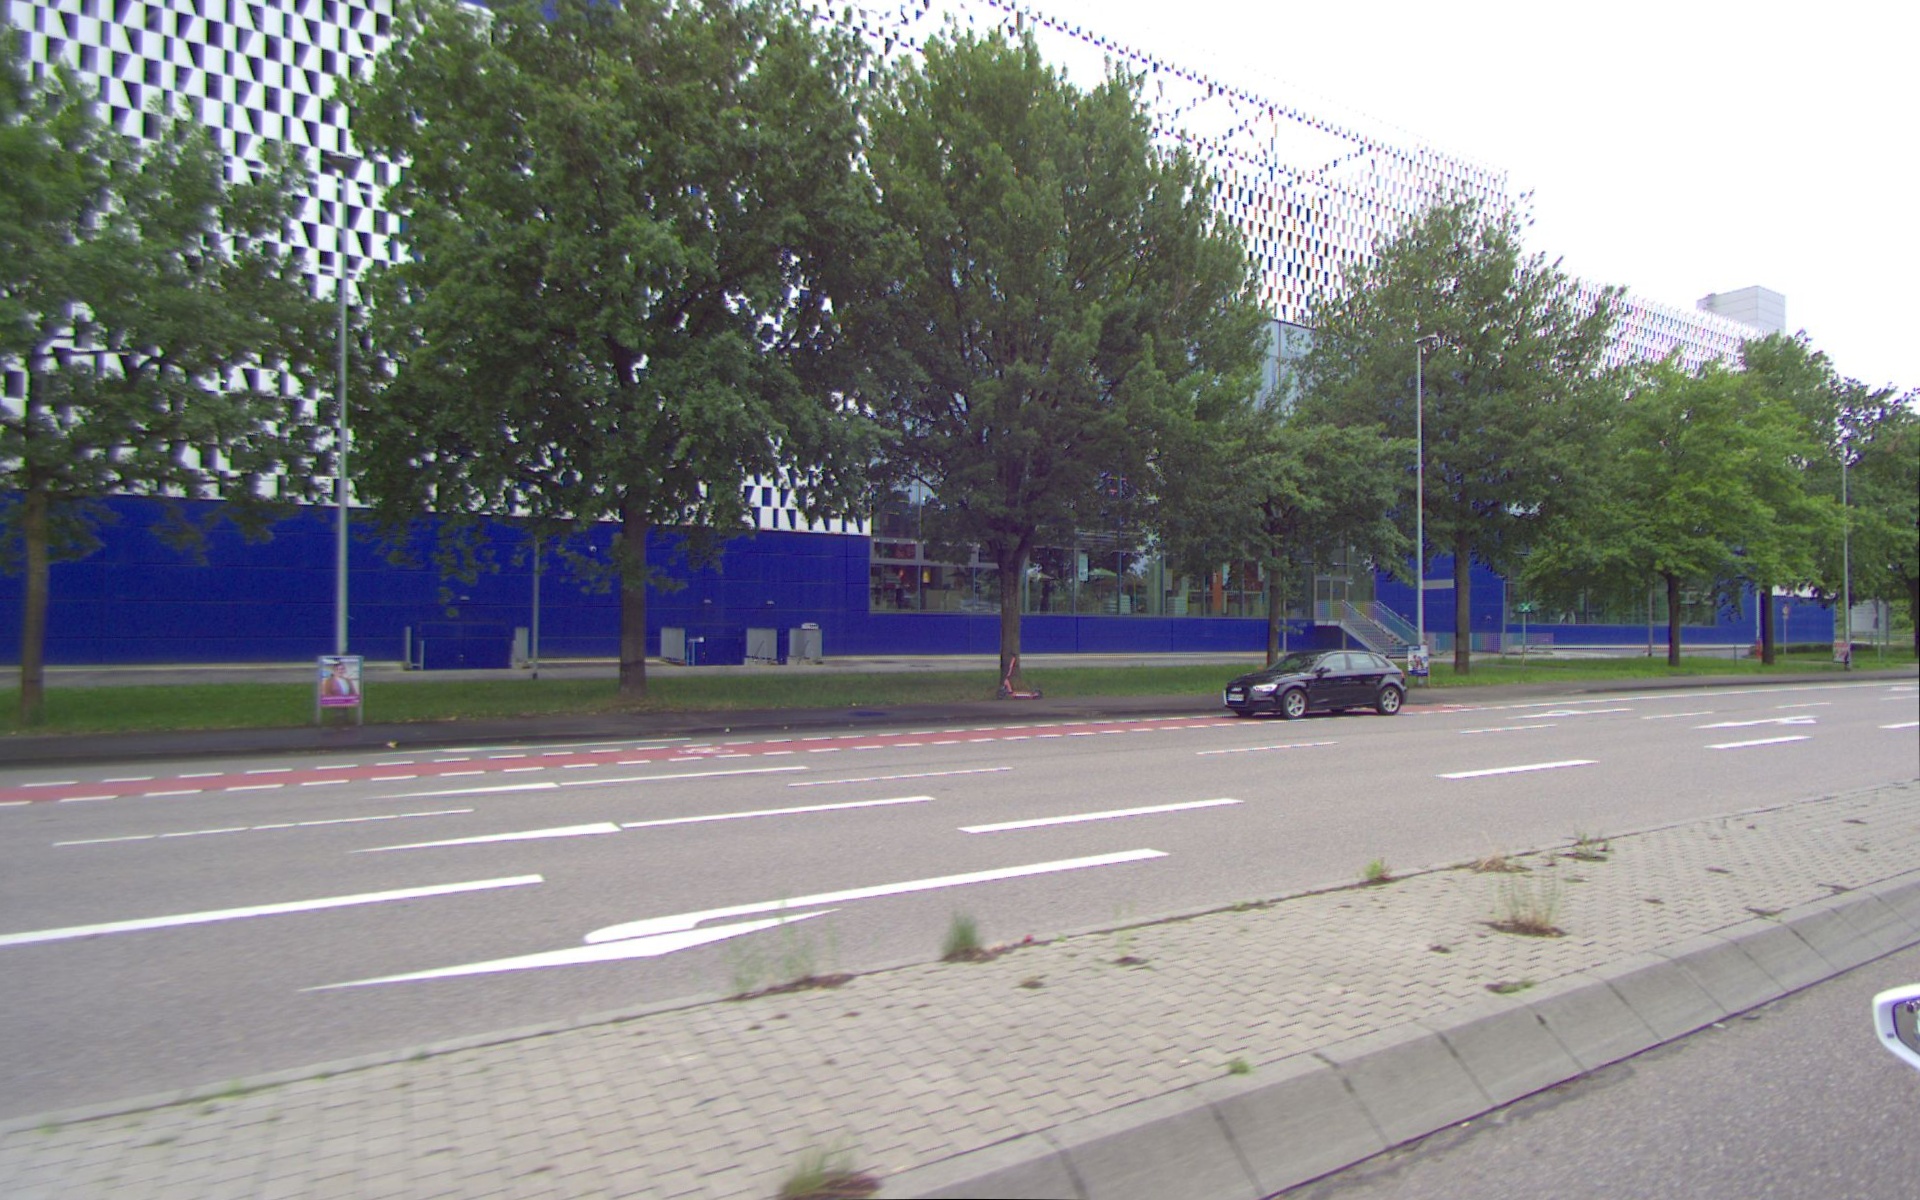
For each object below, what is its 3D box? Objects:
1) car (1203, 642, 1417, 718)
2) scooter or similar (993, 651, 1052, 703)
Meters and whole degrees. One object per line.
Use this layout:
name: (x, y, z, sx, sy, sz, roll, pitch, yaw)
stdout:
car: (7.568, 1.700, 21.770, 4.192, 1.521, 1.914, 1, -4, -23)
scooter or similar: (1.575, 1.910, 25.269, 1.363, 1.212, 0.651, 0, 0, -32)
